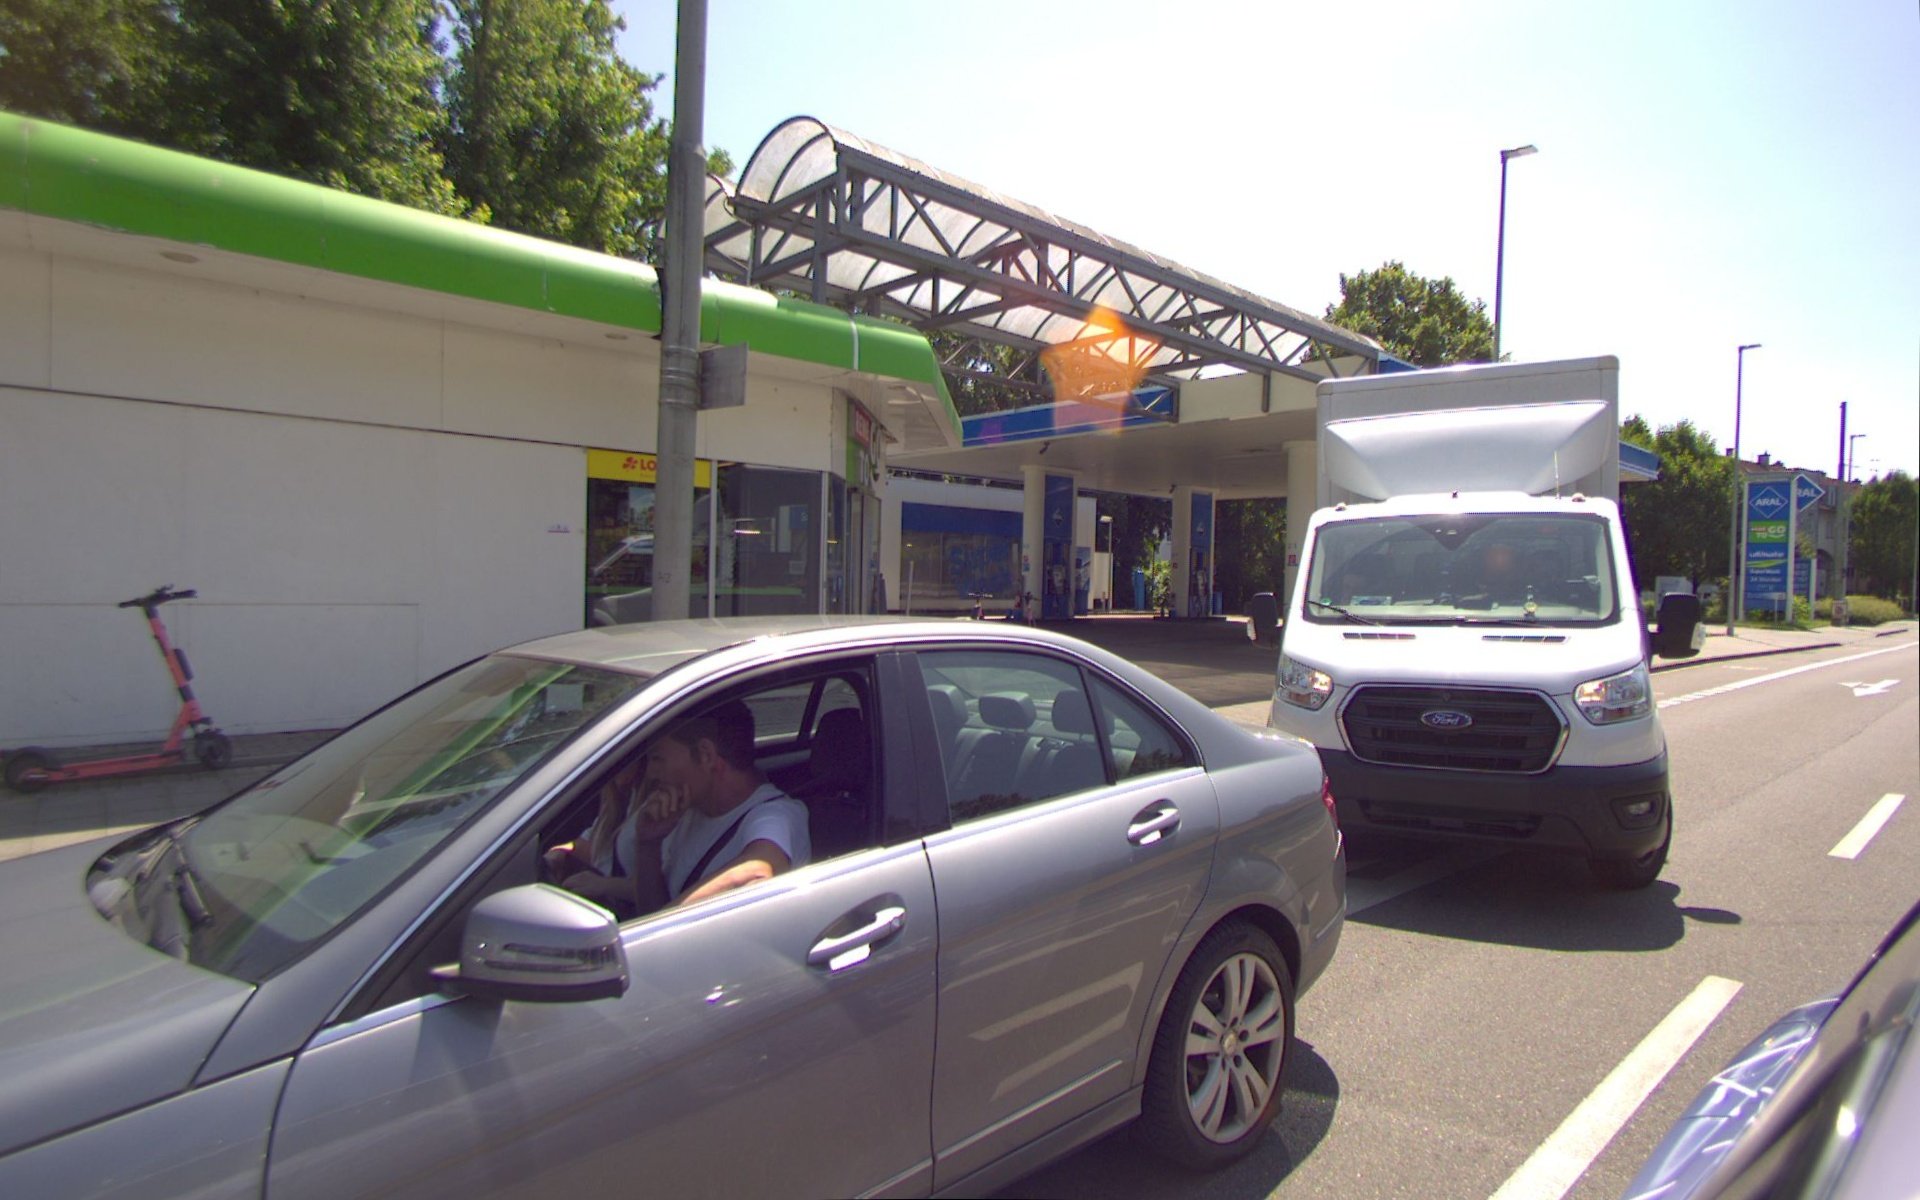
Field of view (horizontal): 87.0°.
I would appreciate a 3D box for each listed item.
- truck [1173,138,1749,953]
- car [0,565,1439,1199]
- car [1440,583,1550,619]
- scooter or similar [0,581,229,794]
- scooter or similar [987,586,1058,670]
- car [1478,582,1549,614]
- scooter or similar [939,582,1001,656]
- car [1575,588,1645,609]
[{"bbox_3d":[4.042,-0.301,8.285,2.405,3.433,7.757,2,1,28],"label":"truck"},{"bbox_3d":[-0.669,0.677,2.558,4.340,1.467,1.799,0,1,-41],"label":"car"},{"bbox_3d":[23.292,0.034,44.089,4.055,1.439,1.723,1,1,-14],"label":"car"},{"bbox_3d":[-5.246,0.504,6.296,1.118,1.209,0.384,0,4,-37],"label":"scooter or similar"},{"bbox_3d":[0.978,0.423,16.050,0.404,1.256,1.176,0,1,-40],"label":"scooter or similar"},{"bbox_3d":[31.744,-0.150,58.021,4.329,1.683,1.999,-1,2,-37],"label":"car"},{"bbox_3d":[0.160,0.302,16.988,0.377,1.191,1.137,0,1,-40],"label":"scooter or similar"},{"bbox_3d":[51.484,-0.120,80.260,1.961,1.540,4.229,0,1,-33],"label":"car"}]
